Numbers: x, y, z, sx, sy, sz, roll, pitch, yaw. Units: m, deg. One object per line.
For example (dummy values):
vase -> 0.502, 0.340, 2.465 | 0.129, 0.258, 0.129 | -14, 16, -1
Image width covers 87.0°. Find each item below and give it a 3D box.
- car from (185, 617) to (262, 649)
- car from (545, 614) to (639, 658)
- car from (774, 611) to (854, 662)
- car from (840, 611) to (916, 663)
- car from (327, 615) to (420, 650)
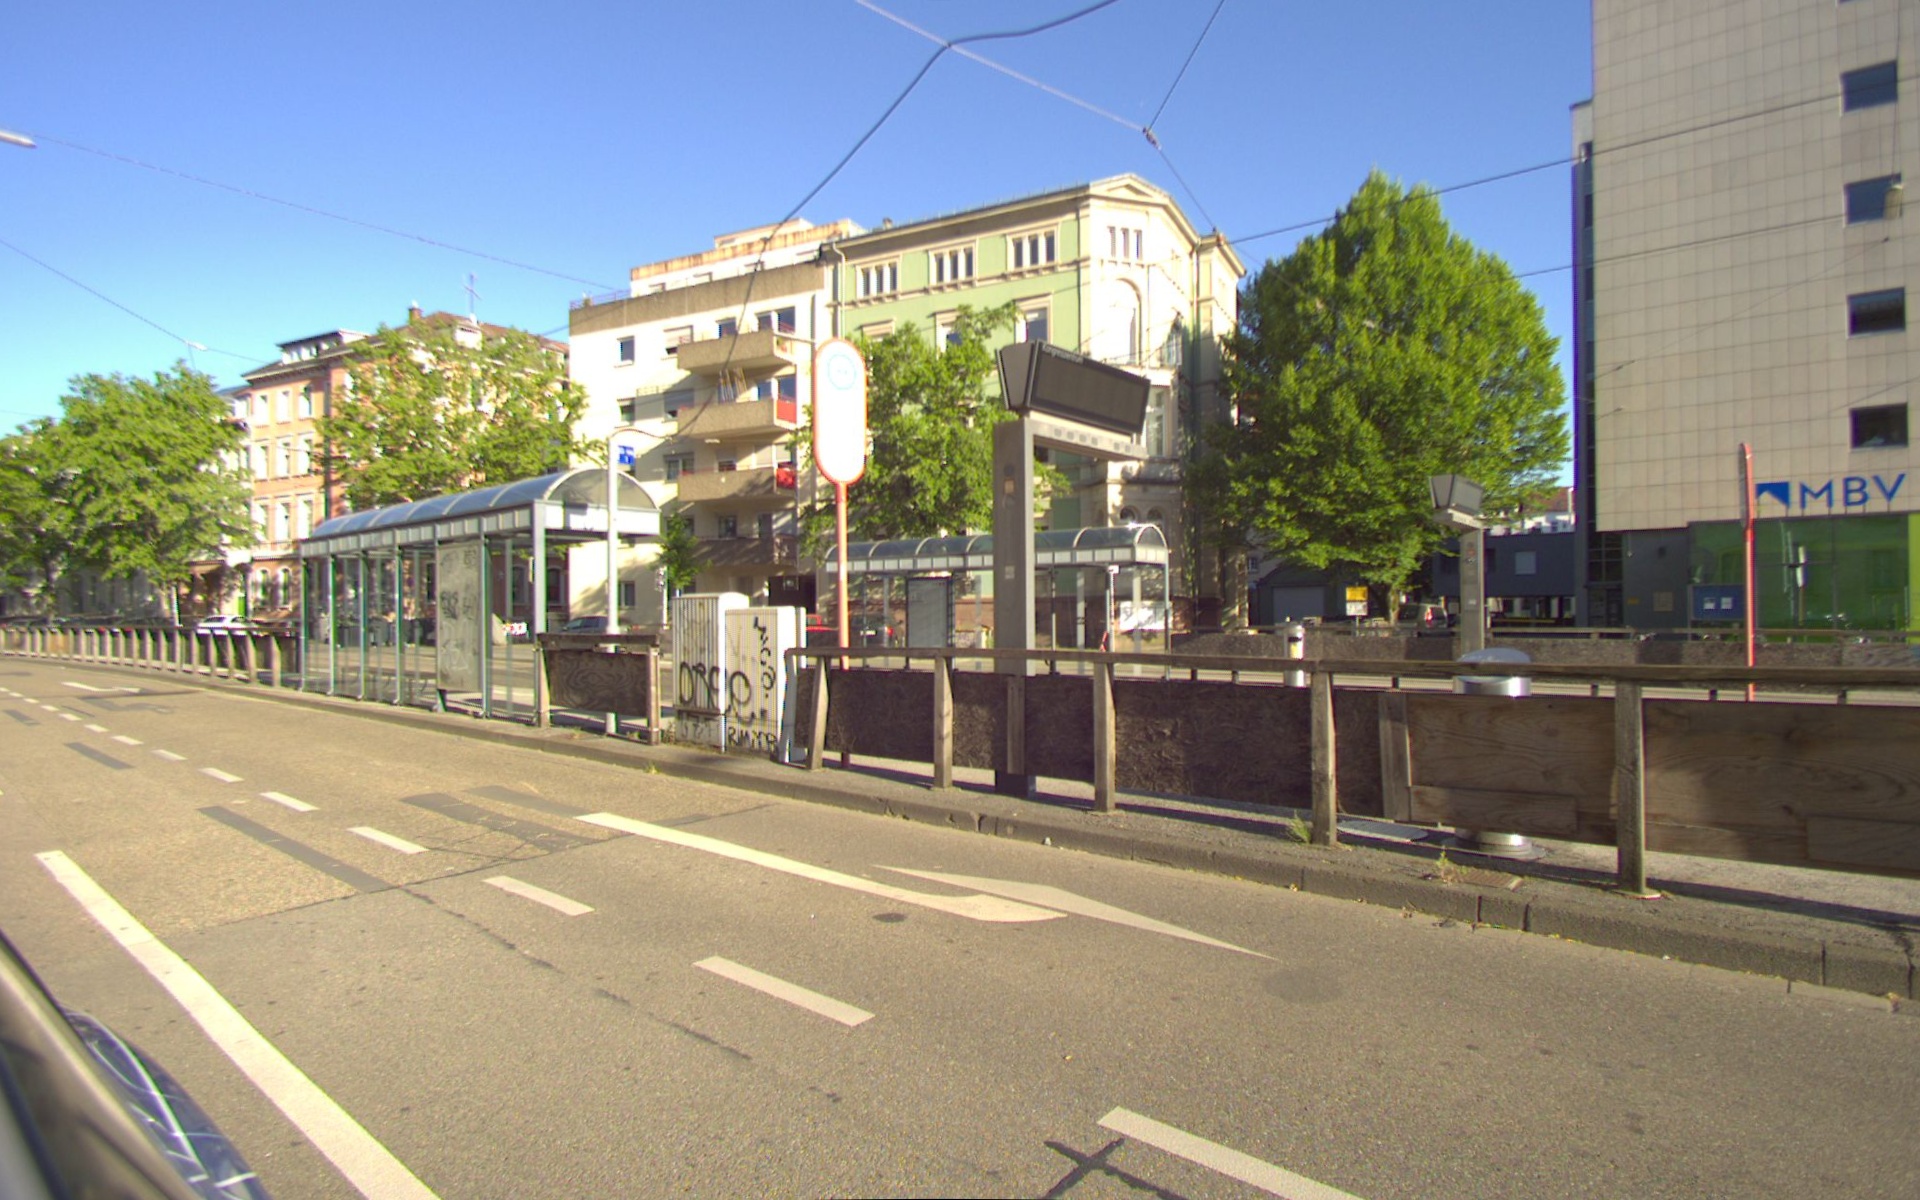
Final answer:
car -> -39.403, 1.730, 54.215 | 1.607, 1.579, 3.601 | -1, 0, -2
car -> -14.037, 1.327, 38.520 | 3.592, 1.579, 1.612 | -1, 0, 35
car -> -4.925, 1.210, 34.568 | 1.614, 1.579, 3.588 | -1, 0, 11
car -> -2.652, 1.181, 33.372 | 1.614, 1.579, 3.588 | -1, 0, 11
car -> -28.403, 1.551, 49.057 | 1.626, 1.579, 3.560 | -1, 0, 33
